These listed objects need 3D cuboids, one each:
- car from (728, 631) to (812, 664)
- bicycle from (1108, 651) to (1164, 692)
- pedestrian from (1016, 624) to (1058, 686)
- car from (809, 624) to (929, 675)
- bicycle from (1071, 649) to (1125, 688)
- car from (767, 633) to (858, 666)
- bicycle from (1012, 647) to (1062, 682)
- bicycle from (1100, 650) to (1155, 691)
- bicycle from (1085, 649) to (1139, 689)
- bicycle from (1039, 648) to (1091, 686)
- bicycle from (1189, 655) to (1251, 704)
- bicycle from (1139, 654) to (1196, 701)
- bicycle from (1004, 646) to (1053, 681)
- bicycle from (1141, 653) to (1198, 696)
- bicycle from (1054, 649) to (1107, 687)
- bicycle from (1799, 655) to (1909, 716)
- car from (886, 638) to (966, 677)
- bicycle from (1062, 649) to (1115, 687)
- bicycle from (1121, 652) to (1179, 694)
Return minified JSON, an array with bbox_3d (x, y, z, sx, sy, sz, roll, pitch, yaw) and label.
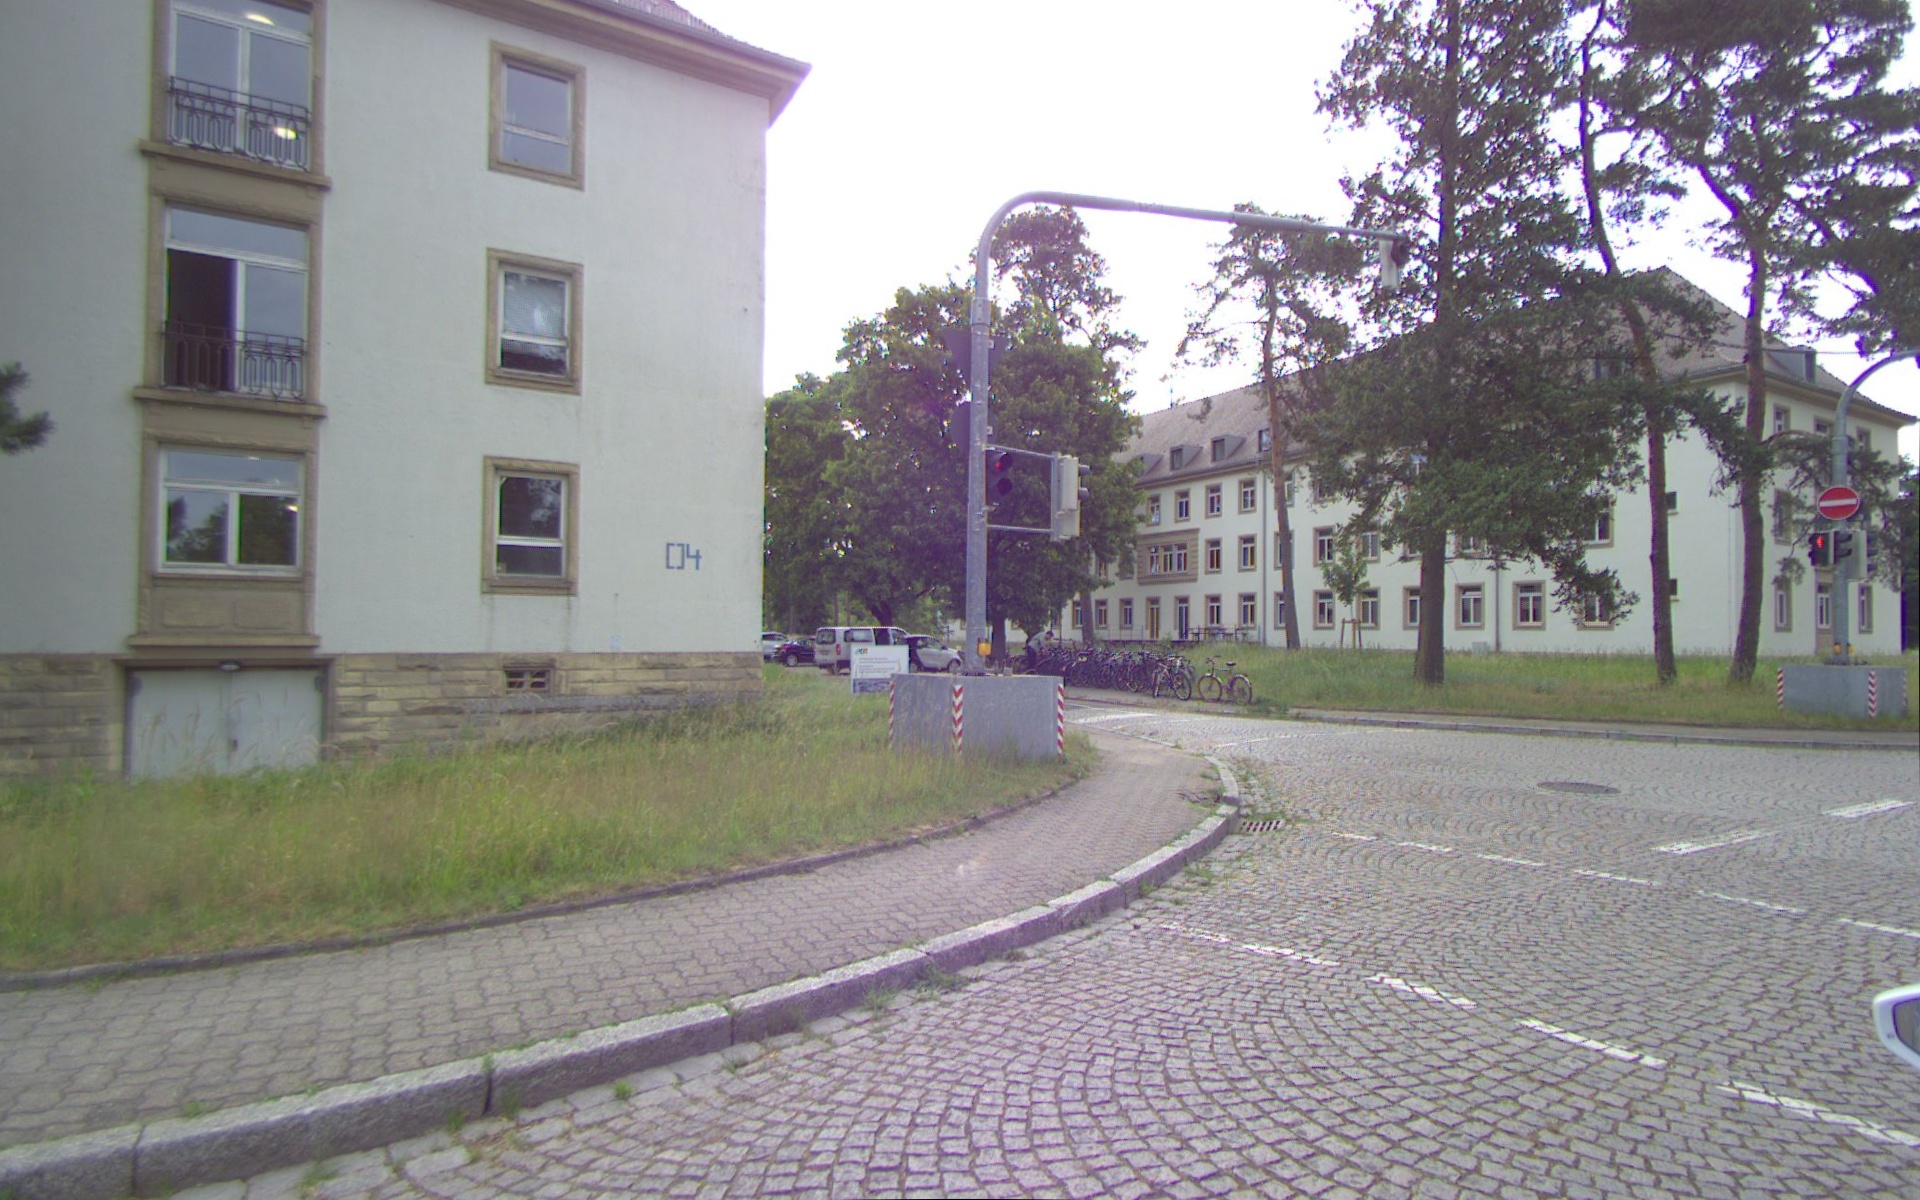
[{"bbox_3d":[-10.197,2.544,53.993,4.051,1.716,1.789,2,-2,-34],"label":"car"},{"bbox_3d":[4.824,1.940,27.547,1.567,1.093,0.512,2,-3,-30],"label":"bicycle"},{"bbox_3d":[2.321,1.656,30.531,1.135,1.812,1.064,-1,-1,-2],"label":"pedestrian"},{"bbox_3d":[-3.710,2.043,41.719,4.877,1.977,1.839,2,-2,-44],"label":"car"},{"bbox_3d":[3.979,1.969,28.919,1.567,1.093,0.512,2,-3,-30],"label":"bicycle"},{"bbox_3d":[-7.216,2.425,49.368,4.051,1.547,1.789,2,-2,-34],"label":"car"},{"bbox_3d":[2.446,2.020,31.680,1.567,1.093,0.512,2,-3,-30],"label":"bicycle"},{"bbox_3d":[4.651,1.940,27.864,1.567,1.093,0.512,2,-3,-30],"label":"bicycle"},{"bbox_3d":[4.302,1.948,28.389,1.567,1.093,0.512,2,-3,-30],"label":"bicycle"},{"bbox_3d":[3.166,2.016,30.332,1.567,1.093,0.512,2,-3,-30],"label":"bicycle"},{"bbox_3d":[5.961,1.804,23.073,0.510,1.079,1.457,2,-3,-31],"label":"bicycle"},{"bbox_3d":[5.017,1.872,24.410,0.510,1.093,1.457,2,-3,-31],"label":"bicycle"},{"bbox_3d":[2.192,2.019,32.110,1.567,1.093,0.512,2,-3,-30],"label":"bicycle"},{"bbox_3d":[5.497,1.943,26.343,1.568,1.093,0.511,2,-3,-33],"label":"bicycle"},{"bbox_3d":[3.556,2.000,29.640,1.567,1.093,0.512,2,-3,-30],"label":"bicycle"},{"bbox_3d":[16.949,1.599,19.068,0.510,1.079,1.457,0,-2,-31],"label":"bicycle"},{"bbox_3d":[-1.330,2.227,39.147,2.755,1.446,1.509,2,-1,-30],"label":"car"},{"bbox_3d":[3.752,1.971,29.309,1.567,1.093,0.512,2,-3,-30],"label":"bicycle"},{"bbox_3d":[5.090,1.939,26.888,1.565,1.093,0.513,2,-2,-27],"label":"bicycle"}]
